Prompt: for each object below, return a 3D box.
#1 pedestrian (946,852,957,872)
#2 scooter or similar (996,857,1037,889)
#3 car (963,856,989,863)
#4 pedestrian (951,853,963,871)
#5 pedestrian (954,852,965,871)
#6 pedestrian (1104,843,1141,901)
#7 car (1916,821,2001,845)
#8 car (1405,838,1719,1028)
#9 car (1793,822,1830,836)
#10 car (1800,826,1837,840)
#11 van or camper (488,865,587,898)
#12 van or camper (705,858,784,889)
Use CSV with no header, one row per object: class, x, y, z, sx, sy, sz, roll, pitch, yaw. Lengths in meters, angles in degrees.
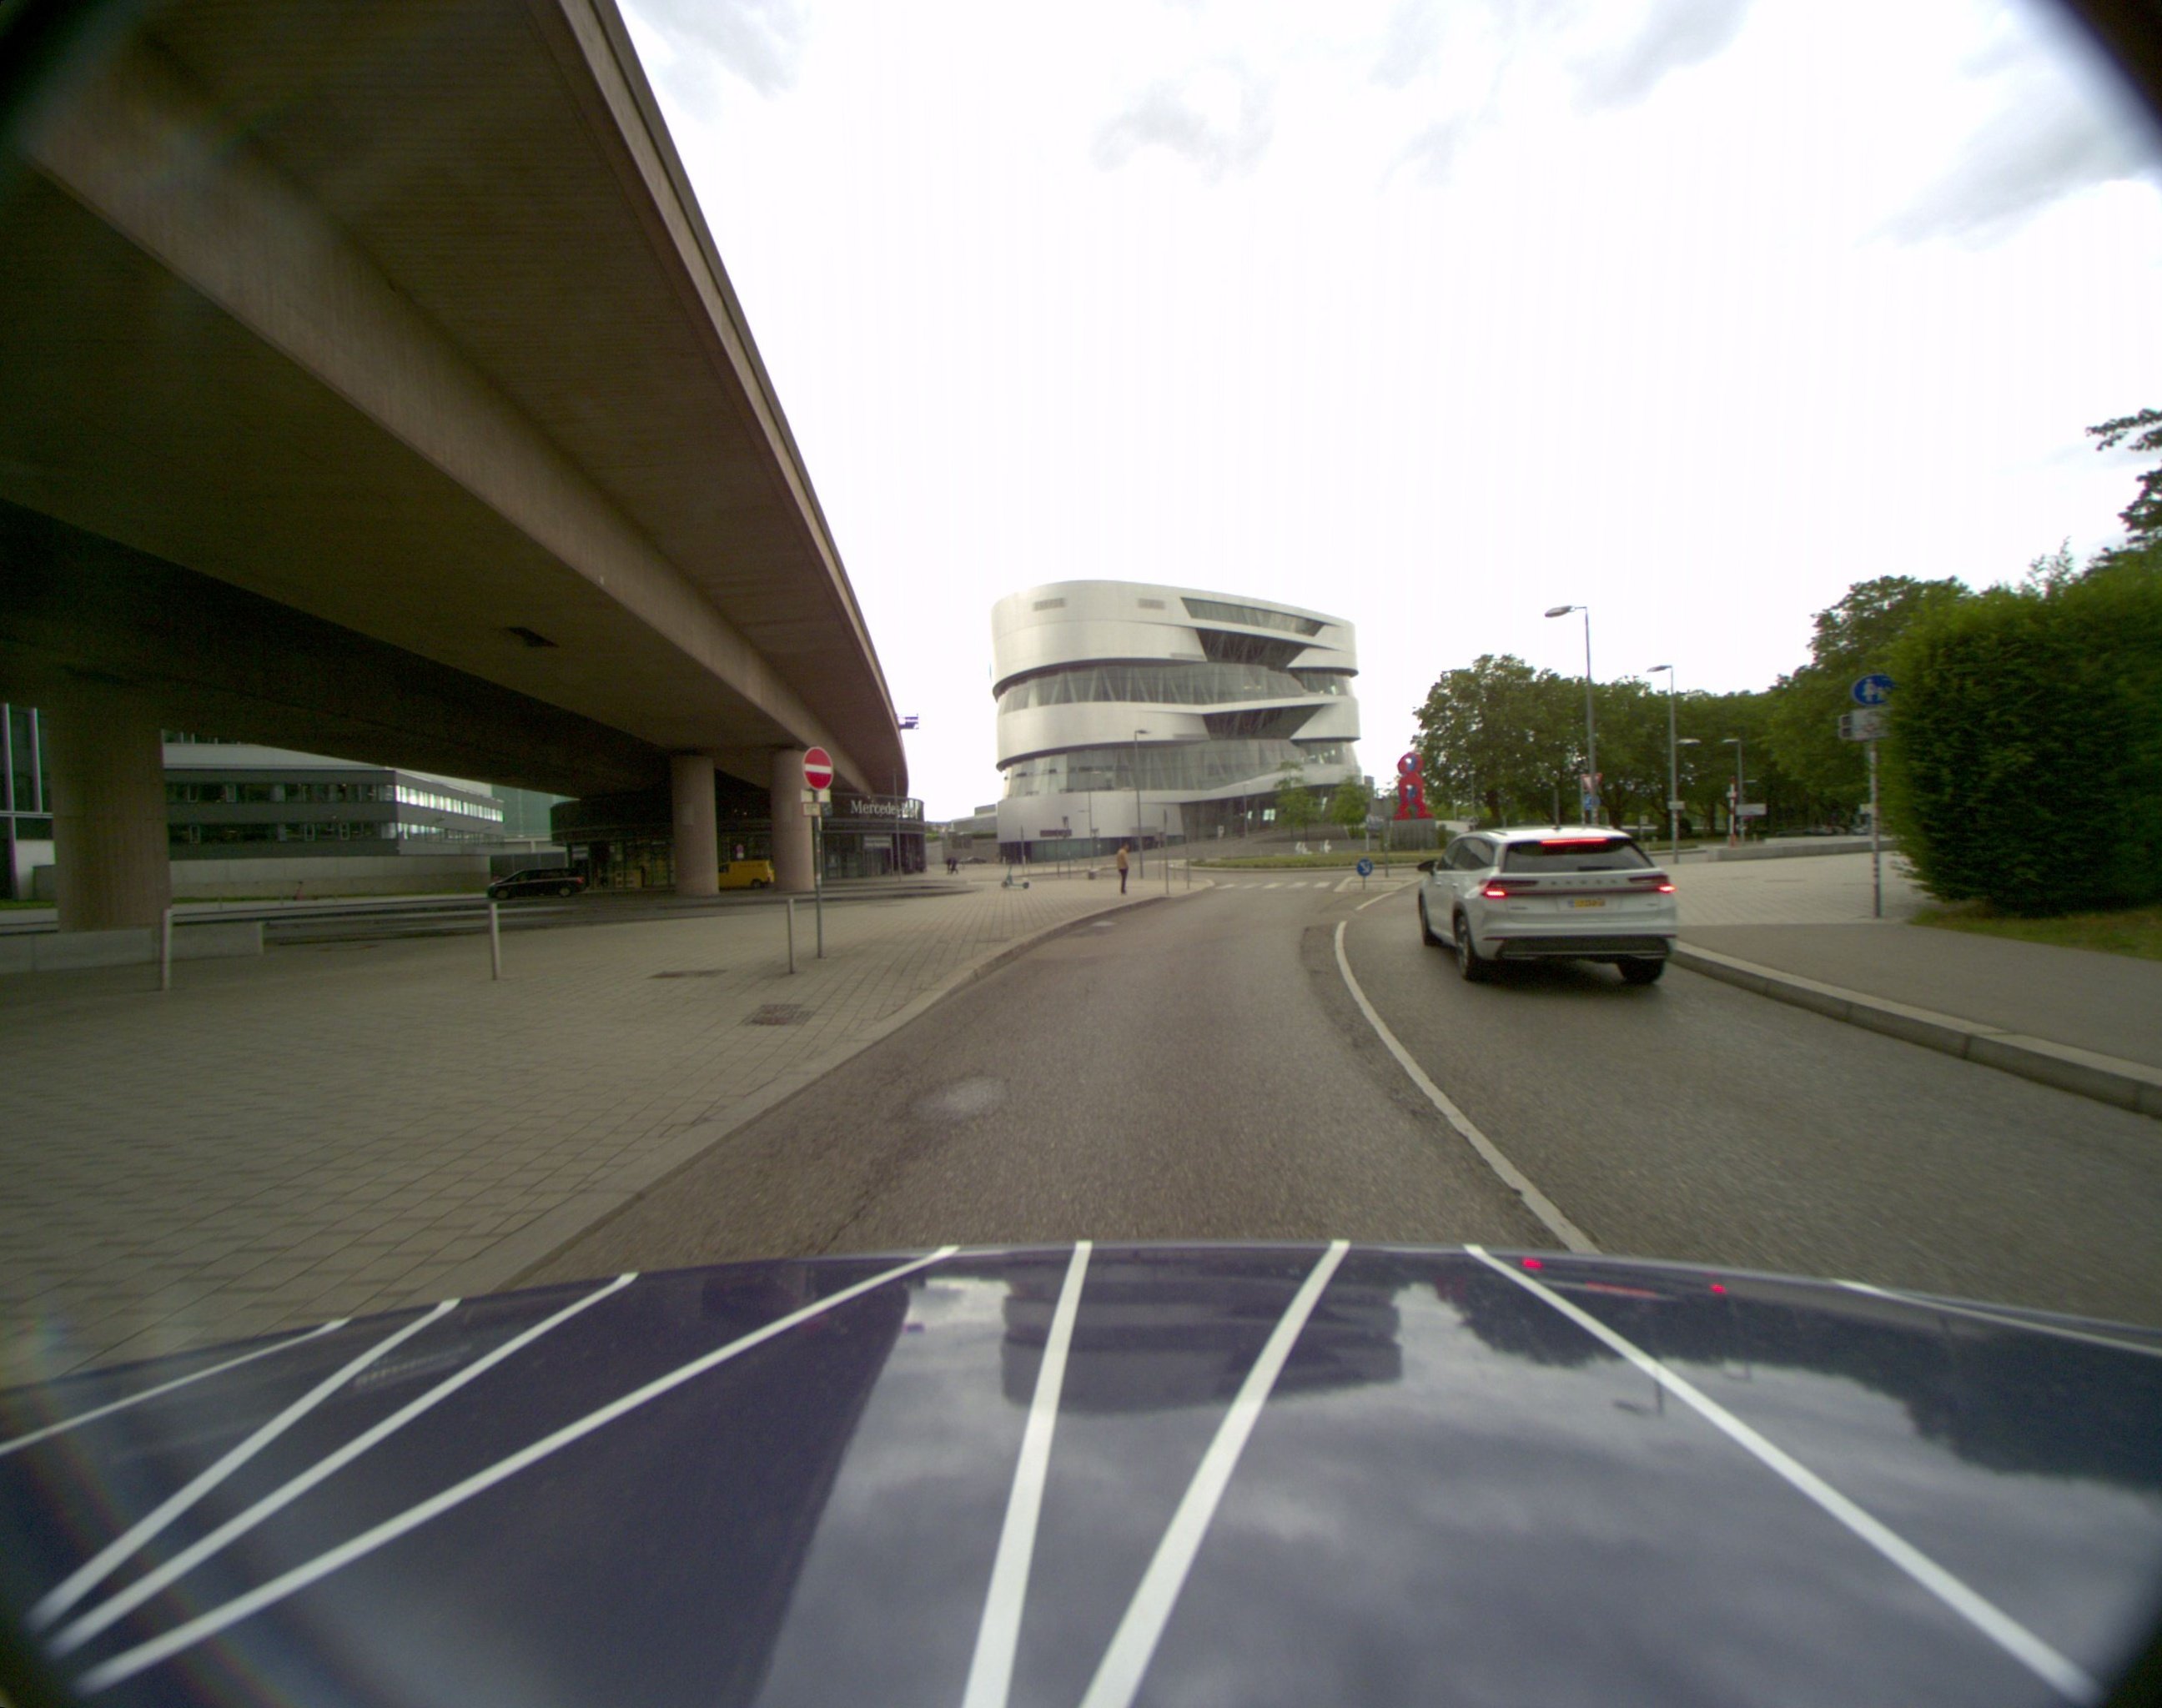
pedestrian,-12.163,0.755,71.509,0.784,1.787,0.864,-2,-1,-24
scooter or similar,-2.751,0.819,32.381,1.647,1.288,0.519,-2,-1,9
car,-21.364,1.132,154.756,4.910,1.390,1.533,-2,-1,-16
pedestrian,-11.552,0.739,70.791,0.774,1.695,0.785,-1,-1,-27
pedestrian,-11.205,0.695,69.999,0.774,1.695,0.864,-1,-1,-27
pedestrian,1.473,0.623,26.836,0.782,2.001,1.042,-2,-1,40
car,64.501,-1.542,55.911,1.782,1.515,3.817,-1,-1,-31
car,5.233,0.756,9.042,1.867,1.673,4.411,-2,-1,15
car,104.394,-3.566,108.596,1.690,1.675,3.442,-3,0,-32
car,107.750,-3.003,111.029,1.689,1.838,3.444,-3,0,-21
van or camper,-34.569,1.744,48.533,4.908,1.881,2.150,-1,-1,-29
van or camper,-23.238,1.318,52.662,4.505,1.987,2.360,-2,0,-8
